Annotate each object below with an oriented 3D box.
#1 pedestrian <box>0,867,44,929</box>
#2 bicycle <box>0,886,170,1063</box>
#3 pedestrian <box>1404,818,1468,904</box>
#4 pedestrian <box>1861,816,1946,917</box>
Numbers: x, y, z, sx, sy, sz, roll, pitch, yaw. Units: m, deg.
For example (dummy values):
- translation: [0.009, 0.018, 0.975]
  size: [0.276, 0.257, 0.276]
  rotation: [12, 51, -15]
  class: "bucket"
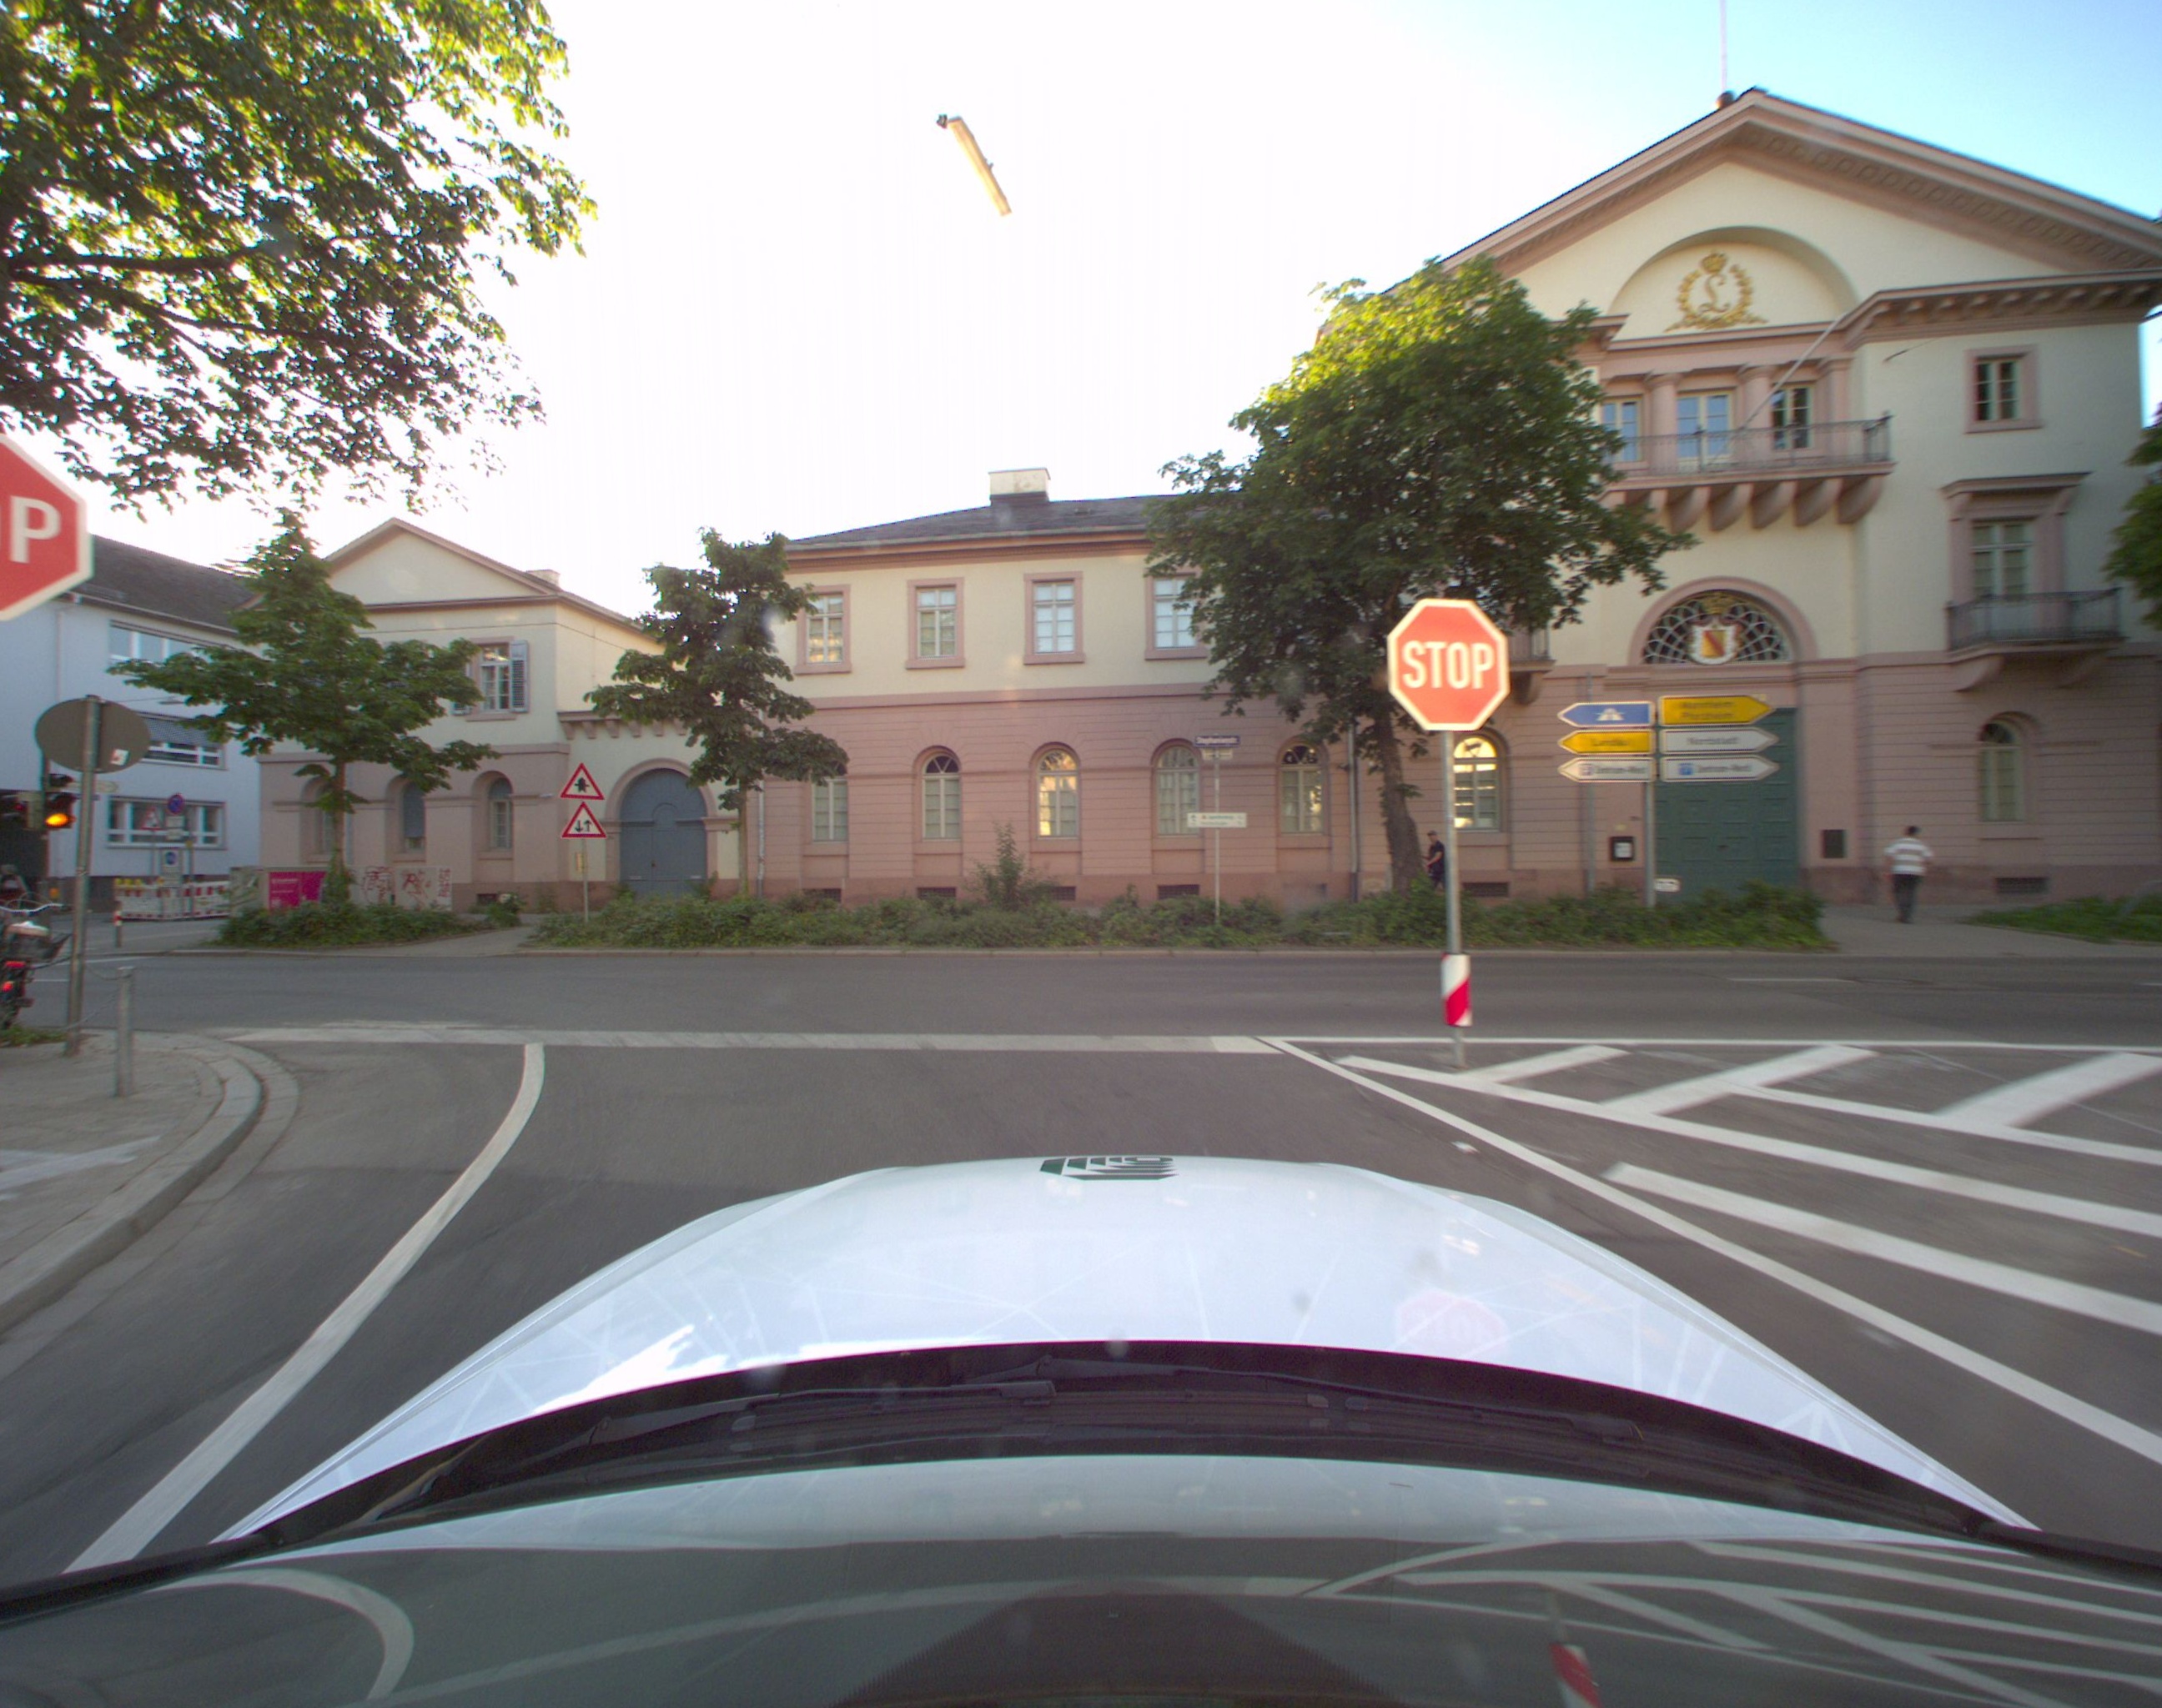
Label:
- translation: [-31.034, 1.264, 23.605]
  size: [0.763, 1.752, 0.936]
  rotation: [-1, -1, 13]
  class: "pedestrian"
- translation: [-8.950, 0.922, 6.881]
  size: [2.542, 1.267, 0.850]
  rotation: [-1, 0, 22]
  class: "bicycle"
- translation: [7.836, 0.159, 18.017]
  size: [1.073, 1.839, 0.802]
  rotation: [-1, -1, 7]
  class: "pedestrian"
- translation: [15.414, 0.233, 15.291]
  size: [0.791, 1.832, 0.934]
  rotation: [-1, -1, 23]
  class: "pedestrian"
